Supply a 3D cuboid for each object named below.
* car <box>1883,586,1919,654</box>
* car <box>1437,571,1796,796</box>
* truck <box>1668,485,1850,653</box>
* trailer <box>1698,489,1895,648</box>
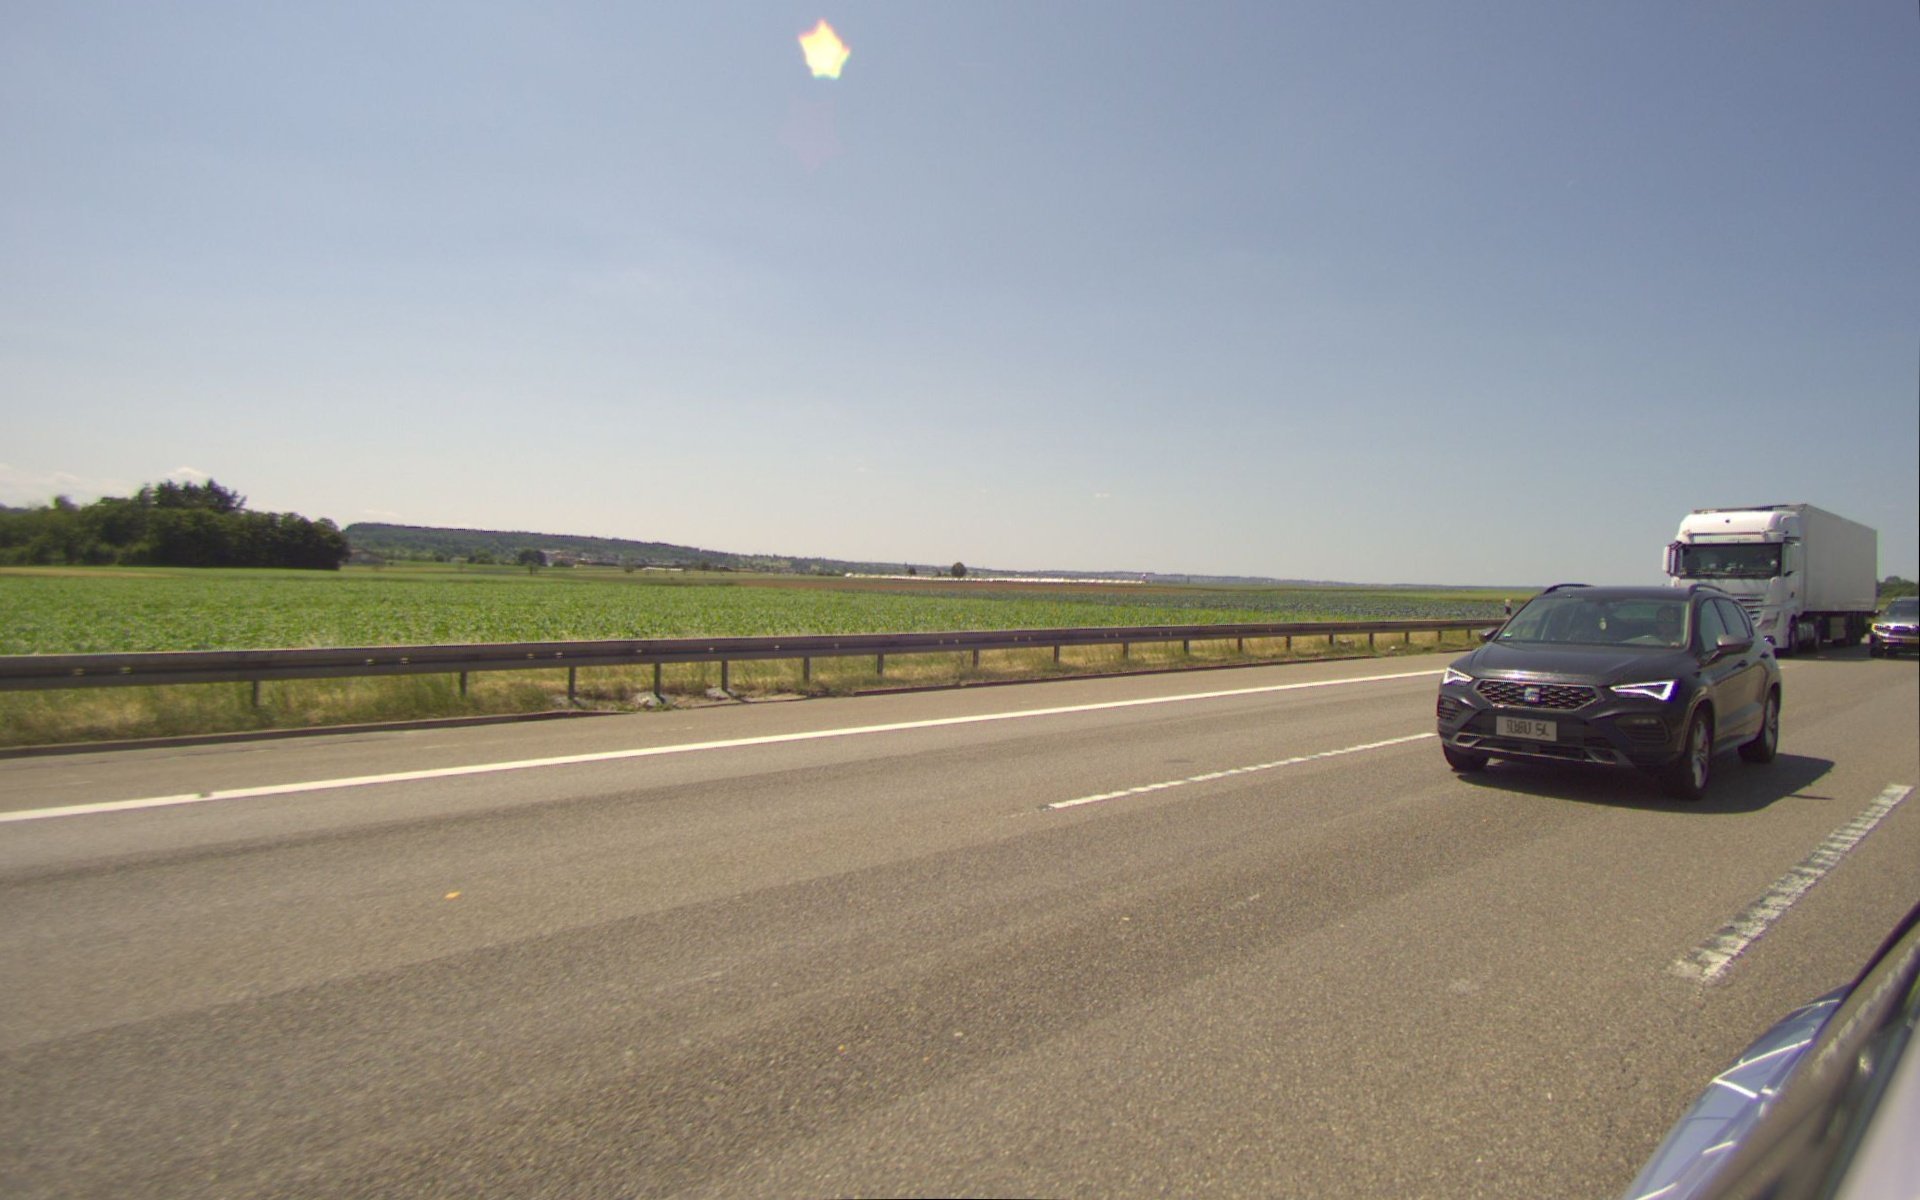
[{"bbox_3d":[25.609,0.528,26.394,4.564,1.669,1.854,1,0,-42],"label":"car"},{"bbox_3d":[5.985,0.573,9.067,3.758,1.582,1.799,0,0,-42],"label":"car"},{"bbox_3d":[22.398,-0.790,28.243,6.761,4.143,2.867,0,0,-42],"label":"truck"},{"bbox_3d":[27.228,-0.875,32.562,13.063,4.273,2.872,0,0,-41],"label":"trailer"}]
